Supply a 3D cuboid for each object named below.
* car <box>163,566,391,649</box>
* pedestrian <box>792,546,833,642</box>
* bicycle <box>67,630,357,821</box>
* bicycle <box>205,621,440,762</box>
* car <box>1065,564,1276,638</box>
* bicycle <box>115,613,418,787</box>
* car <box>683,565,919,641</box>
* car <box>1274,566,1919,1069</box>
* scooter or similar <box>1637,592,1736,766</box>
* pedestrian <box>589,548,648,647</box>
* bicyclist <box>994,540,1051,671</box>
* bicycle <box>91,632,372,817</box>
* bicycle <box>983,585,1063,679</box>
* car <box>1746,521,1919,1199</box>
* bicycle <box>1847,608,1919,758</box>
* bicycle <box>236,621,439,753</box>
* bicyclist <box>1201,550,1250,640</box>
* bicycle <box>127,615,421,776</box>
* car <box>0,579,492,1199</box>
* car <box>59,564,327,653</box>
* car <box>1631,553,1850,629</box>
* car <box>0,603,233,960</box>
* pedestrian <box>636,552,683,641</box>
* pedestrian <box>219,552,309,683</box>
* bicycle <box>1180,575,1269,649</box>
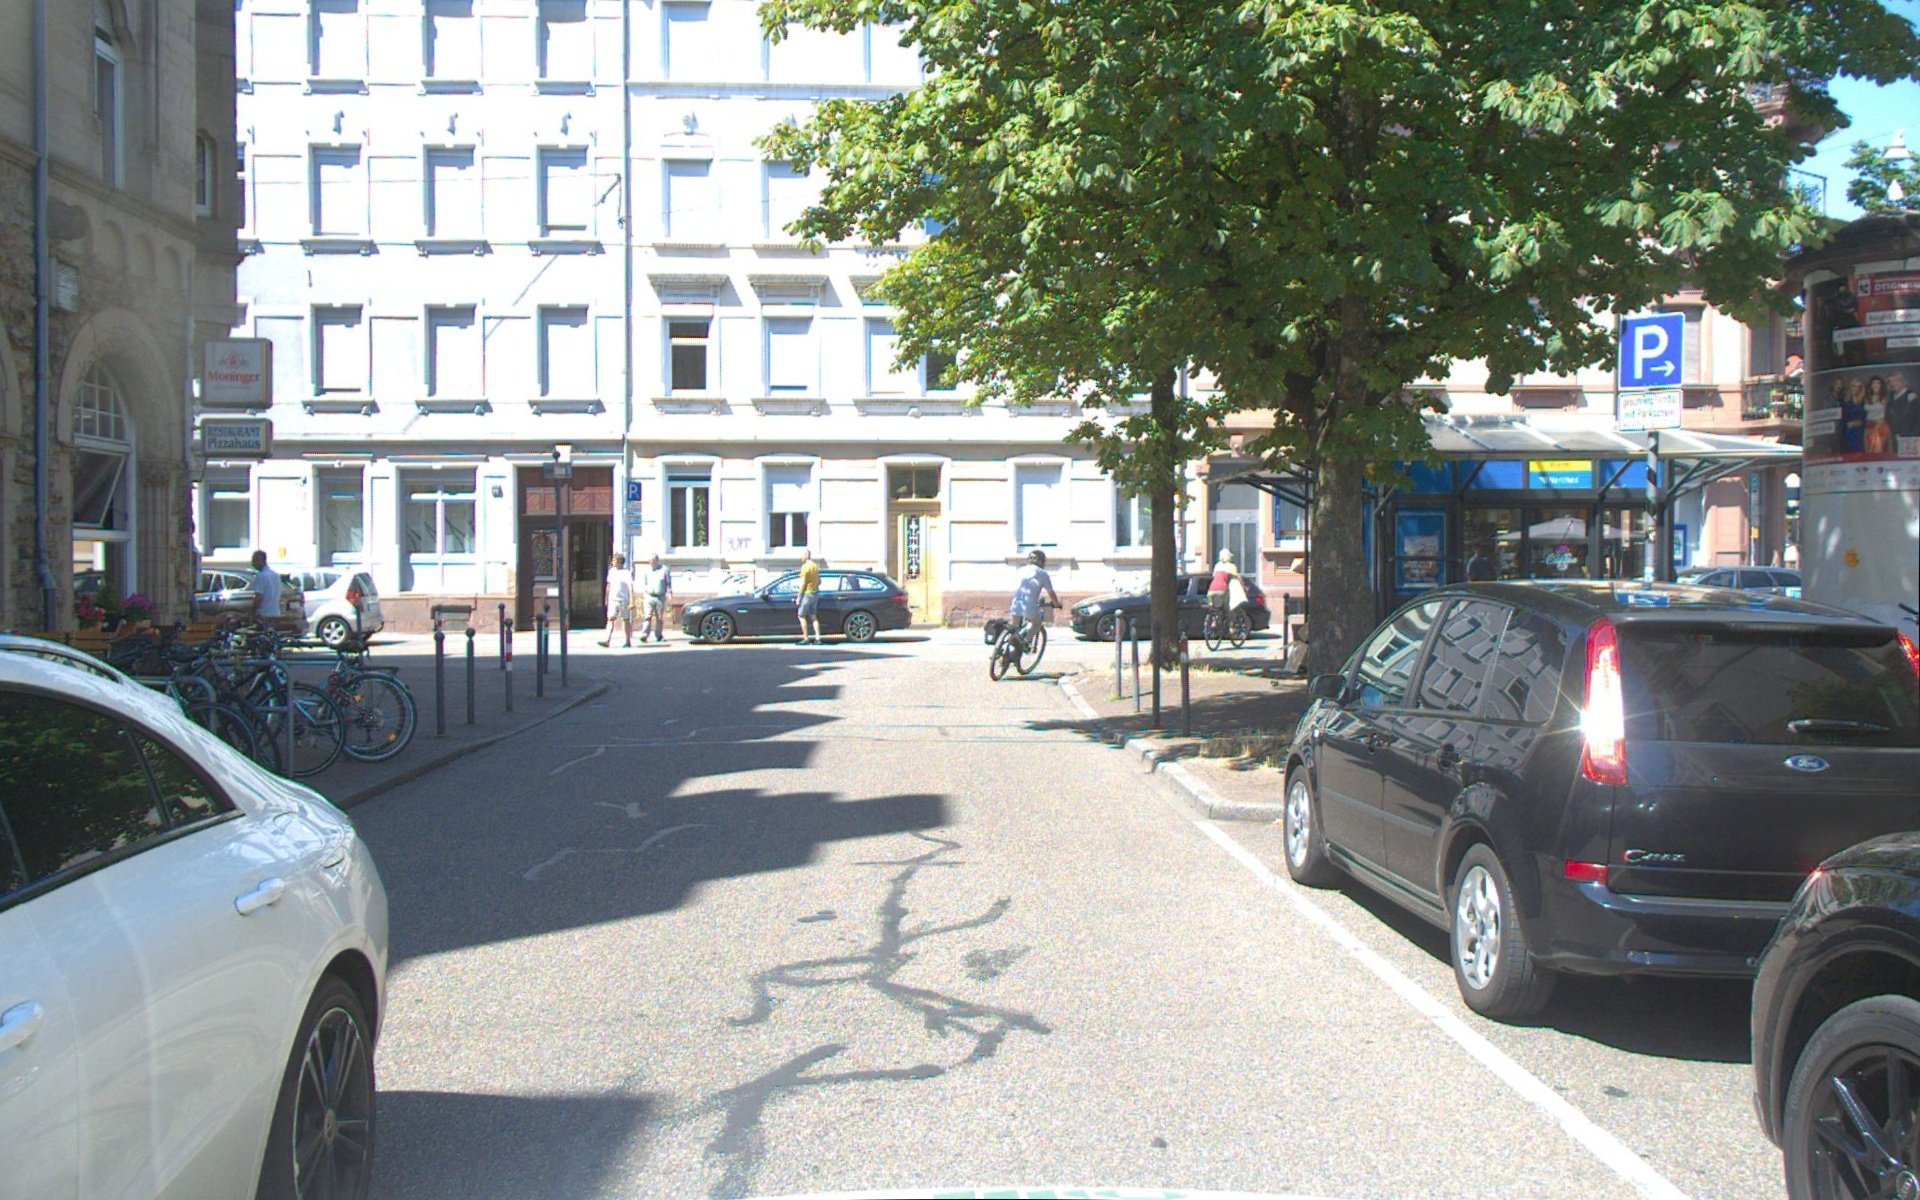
[{"bbox_3d":[-14.111,0.135,34.356,3.966,1.589,1.806,-1,1,-4],"label":"car"},{"bbox_3d":[-2.968,-0.128,33.283,0.712,1.885,0.683,-1,1,-12],"label":"pedestrian"},{"bbox_3d":[-4.893,0.812,10.866,1.670,1.119,0.292,-3,1,-6],"label":"bicycle"},{"bbox_3d":[-5.092,0.732,13.267,1.672,1.063,0.413,2,0,-6],"label":"bicycle"},{"bbox_3d":[4.424,-0.002,35.128,4.208,1.394,1.807,-1,3,-3],"label":"car"},{"bbox_3d":[-4.966,0.716,11.910,1.934,1.149,0.394,3,0,-6],"label":"bicycle"},{"bbox_3d":[-3.268,0.040,34.633,4.762,1.462,1.999,-1,1,-3],"label":"car"},{"bbox_3d":[2.687,0.661,7.322,1.629,1.567,4.176,2,1,-2],"label":"car"},{"bbox_3d":[5.201,0.536,11.816,0.434,1.156,1.181,-1,1,34],"label":"scooter or similar"},{"bbox_3d":[-6.798,-0.060,32.969,0.832,1.922,0.936,-1,1,8],"label":"pedestrian"},{"bbox_3d":[0.883,0.072,23.253,0.656,1.790,0.610,1,1,15],"label":"bicyclist"},{"bbox_3d":[-4.902,0.830,11.177,1.670,1.119,0.292,-3,1,-6],"label":"bicycle"},{"bbox_3d":[0.925,0.414,23.465,0.638,1.250,2.443,1,1,14],"label":"bicycle"},{"bbox_3d":[2.888,0.707,1.825,1.701,1.624,4.345,2,1,-4],"label":"car"},{"bbox_3d":[7.680,0.585,12.274,1.862,1.057,0.634,-1,1,-2],"label":"bicycle"},{"bbox_3d":[-5.139,0.718,13.691,1.495,1.025,0.367,2,0,-6],"label":"bicycle"},{"bbox_3d":[4.698,-0.089,29.249,0.658,1.559,0.608,-1,1,33],"label":"bicyclist"},{"bbox_3d":[-5.087,0.707,12.336,1.957,1.149,0.435,1,0,-6],"label":"bicycle"},{"bbox_3d":[-2.083,0.764,2.130,1.804,1.486,4.361,-3,1,-2],"label":"car"},{"bbox_3d":[-14.289,0.135,30.978,4.138,1.545,1.806,-1,1,-3],"label":"car"},{"bbox_3d":[16.819,-0.202,35.730,3.907,1.532,1.777,-1,1,-3],"label":"car"},{"bbox_3d":[-4.688,0.778,6.759,1.668,1.376,4.511,-3,1,-4],"label":"car"},{"bbox_3d":[-6.315,-0.083,34.792,0.884,1.845,0.959,-1,1,-7],"label":"pedestrian"},{"bbox_3d":[-9.243,0.221,21.991,0.840,1.701,0.774,-1,1,-2],"label":"pedestrian"},{"bbox_3d":[4.705,0.198,29.290,0.640,1.230,2.435,1,1,32],"label":"bicycle"}]
